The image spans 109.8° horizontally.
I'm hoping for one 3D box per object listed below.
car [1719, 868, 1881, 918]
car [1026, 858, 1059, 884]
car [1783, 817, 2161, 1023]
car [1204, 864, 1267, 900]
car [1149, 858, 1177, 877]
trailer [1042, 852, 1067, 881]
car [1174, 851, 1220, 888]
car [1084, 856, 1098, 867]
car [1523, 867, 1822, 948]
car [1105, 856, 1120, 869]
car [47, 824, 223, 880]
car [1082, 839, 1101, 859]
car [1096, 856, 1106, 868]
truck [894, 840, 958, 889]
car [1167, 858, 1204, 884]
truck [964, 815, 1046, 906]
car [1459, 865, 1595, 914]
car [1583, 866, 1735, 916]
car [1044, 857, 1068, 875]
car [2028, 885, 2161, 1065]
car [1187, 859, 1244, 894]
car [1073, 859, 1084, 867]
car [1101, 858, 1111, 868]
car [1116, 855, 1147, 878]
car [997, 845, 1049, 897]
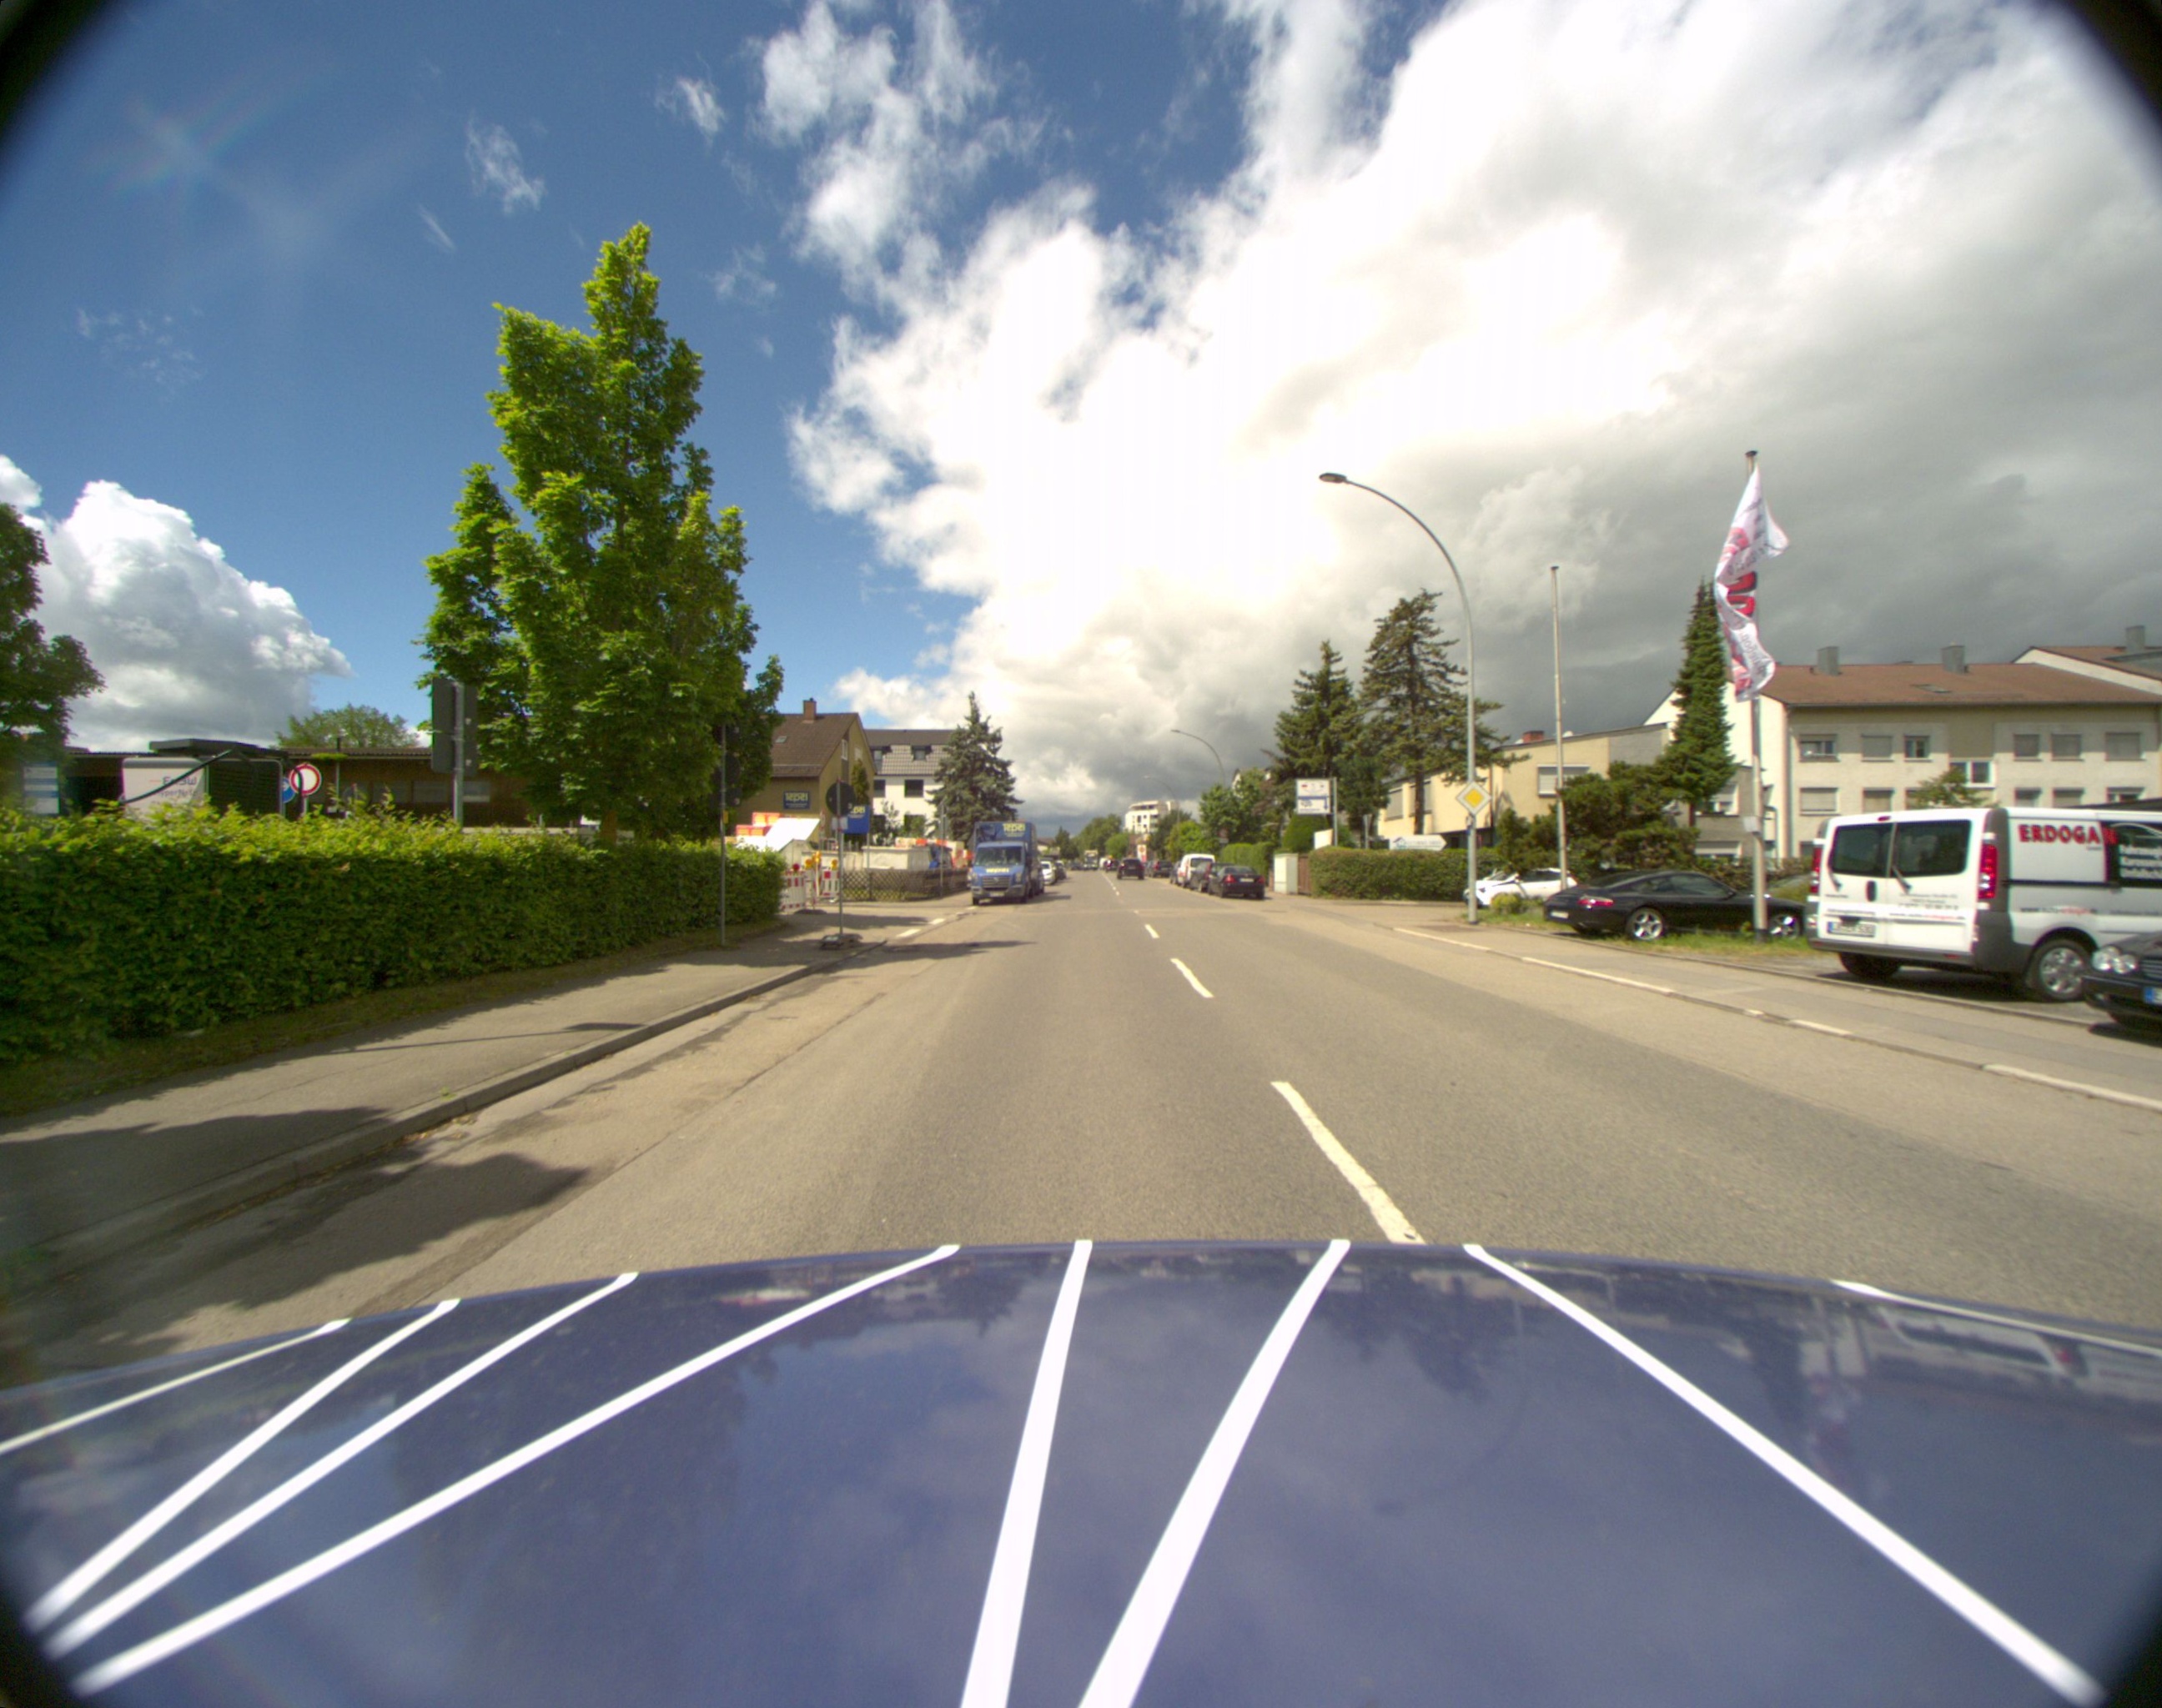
[{"bbox_3d":[24.000,1.285,25.459,3.677,1.469,1.844,2,0,-2],"label":"car"},{"bbox_3d":[-2.350,1.033,47.457,1.777,1.499,4.000,0,0,1],"label":"car"},{"bbox_3d":[11.007,0.633,8.385,4.664,1.960,2.115,0,0,-2],"label":"car"},{"bbox_3d":[6.261,1.098,31.209,1.635,1.296,4.116,3,-1,-1],"label":"car"},{"bbox_3d":[6.755,1.133,63.188,1.724,1.484,4.735,1,-1,-1],"label":"car"},{"bbox_3d":[-2.024,0.947,58.957,1.777,2.132,4.114,0,0,0],"label":"trailer"},{"bbox_3d":[6.272,0.826,41.504,1.748,1.827,4.356,3,-1,0],"label":"car"},{"bbox_3d":[1.597,1.122,121.347,1.892,1.708,3.998,1,0,-4],"label":"car"},{"bbox_3d":[10.672,0.923,13.937,3.997,1.197,1.871,-3,0,-1],"label":"car"},{"bbox_3d":[3.953,1.069,95.685,1.748,1.618,4.356,-1,-1,0],"label":"car"},{"bbox_3d":[-37.395,-0.059,30.224,1.908,2.001,4.000,-3,0,1],"label":"car"},{"bbox_3d":[2.019,-0.841,149.326,3.263,3.595,10.270,-1,-1,-1],"label":"car"},{"bbox_3d":[4.573,1.895,174.682,1.997,2.749,6.165,1,-1,1],"label":"car"},{"bbox_3d":[-7.217,0.557,36.050,1.834,2.069,5.387,3,-2,0],"label":"truck"},{"bbox_3d":[6.476,1.020,47.334,1.644,1.478,4.000,3,-1,0],"label":"car"},{"bbox_3d":[-2.763,0.255,29.306,2.326,3.078,6.043,-2,0,1],"label":"truck"},{"bbox_3d":[14.952,1.163,25.605,3.561,1.469,1.614,2,0,2],"label":"car"},{"bbox_3d":[19.324,1.205,25.521,3.677,1.469,1.844,2,0,-2],"label":"car"},{"bbox_3d":[-2.113,1.006,65.424,1.723,1.423,3.985,1,-1,3],"label":"car"},{"bbox_3d":[10.067,0.919,5.542,3.997,1.307,1.871,0,1,0],"label":"car"},{"bbox_3d":[6.269,1.003,35.861,1.748,1.463,4.644,3,-1,0],"label":"car"},{"bbox_3d":[-0.457,1.716,145.085,1.789,1.548,4.317,-1,0,2],"label":"car"},{"bbox_3d":[4.539,1.580,139.446,1.667,1.785,4.338,1,-1,0],"label":"car"},{"bbox_3d":[3.765,0.908,57.088,1.998,1.606,4.411,1,0,0],"label":"car"},{"bbox_3d":[-2.589,0.761,35.158,1.878,2.156,4.465,-2,0,1],"label":"car"}]
